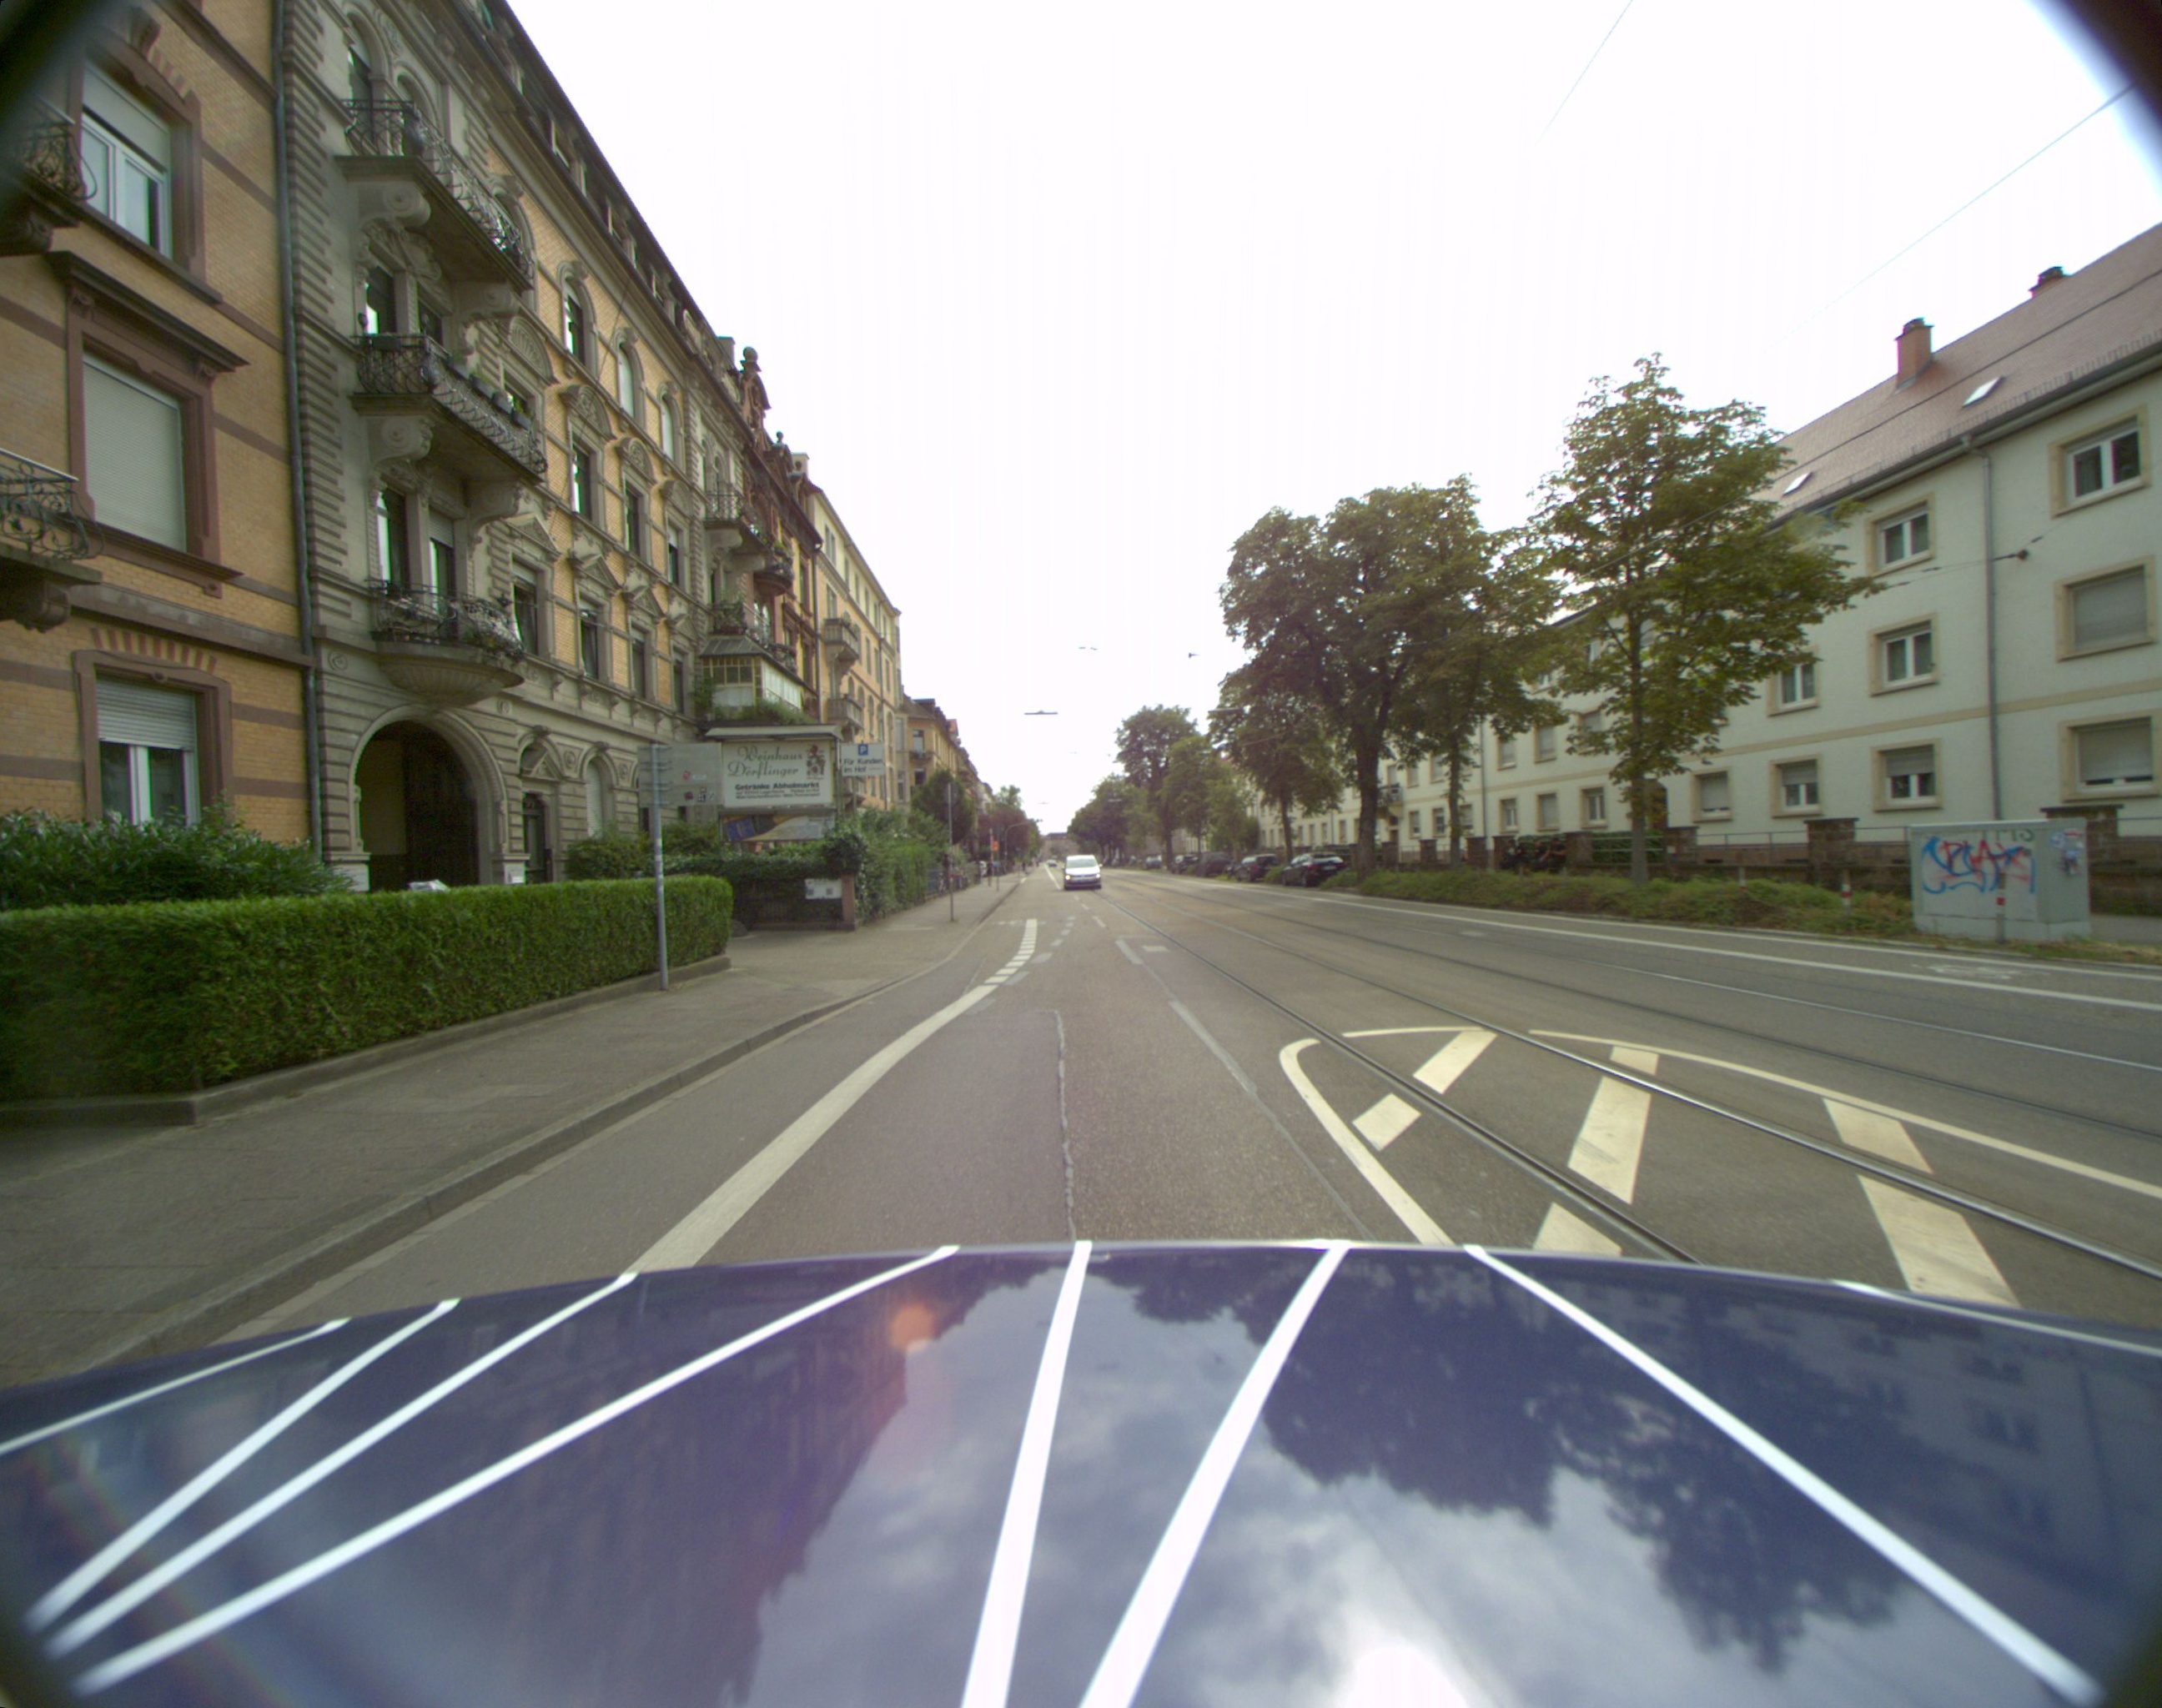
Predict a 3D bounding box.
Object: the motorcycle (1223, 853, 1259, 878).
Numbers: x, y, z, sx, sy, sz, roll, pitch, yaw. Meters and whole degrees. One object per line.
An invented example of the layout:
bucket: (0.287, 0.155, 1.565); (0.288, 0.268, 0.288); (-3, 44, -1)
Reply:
motorcycle: (9.517, 0.697, 45.245); (1.871, 1.253, 0.591); (-8, 1, -6)

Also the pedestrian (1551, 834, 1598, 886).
pedestrian: (14.485, 0.176, 22.315); (0.835, 1.456, 0.732); (-2, 0, -8)

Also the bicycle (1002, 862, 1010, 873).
bicycle: (-8.112, 1.450, 82.036); (0.630, 1.106, 1.874); (-2, 0, -2)

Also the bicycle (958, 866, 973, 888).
bicycle: (-6.028, 1.177, 39.715); (0.580, 1.105, 1.671); (2, 0, -3)

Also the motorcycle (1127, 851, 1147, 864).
motorcycle: (7.172, 0.434, 96.921); (2.312, 1.382, 0.838); (-7, 1, 29)

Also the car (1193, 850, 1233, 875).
car: (9.105, 0.574, 52.817); (1.790, 1.602, 4.299); (-2, 0, -3)

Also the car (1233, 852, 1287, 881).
car: (9.677, 0.637, 41.405); (1.701, 1.415, 4.299); (-4, 0, -3)

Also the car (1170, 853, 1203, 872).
car: (8.559, 0.656, 62.139); (1.701, 1.462, 4.298); (-2, 0, -5)

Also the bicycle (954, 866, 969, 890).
bicycle: (-5.926, 1.187, 37.744); (0.580, 1.105, 1.671); (2, 0, -3)

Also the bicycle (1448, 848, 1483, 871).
bicycle: (15.025, 0.208, 29.740); (0.510, 0.858, 1.550); (-2, 0, -2)

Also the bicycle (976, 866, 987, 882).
bicycle: (-6.436, 1.294, 49.231); (0.580, 0.977, 1.671); (2, 0, -3)

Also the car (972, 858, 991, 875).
car: (-9.982, 1.238, 76.136); (1.757, 1.516, 3.997); (-2, 0, -8)

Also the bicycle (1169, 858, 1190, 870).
bicycle: (8.652, 0.847, 66.737); (1.672, 0.965, 0.672); (-2, 0, -11)

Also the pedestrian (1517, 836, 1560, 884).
pedestrian: (14.288, 0.191, 23.730); (0.835, 1.456, 0.732); (-2, 0, -8)

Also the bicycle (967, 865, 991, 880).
bicycle: (-7.849, 1.415, 58.659); (0.629, 1.106, 1.878); (-2, 0, 40)

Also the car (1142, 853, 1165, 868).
car: (7.712, 0.695, 81.298); (1.701, 1.462, 4.298); (-3, 0, -5)

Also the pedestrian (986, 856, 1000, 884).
pedestrian: (-5.288, 0.969, 45.574); (0.732, 1.614, 0.835); (-2, 0, -3)

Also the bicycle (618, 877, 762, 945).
bicycle: (-8.397, 1.208, 16.413); (2.631, 1.304, 0.770); (-2, 0, -5)

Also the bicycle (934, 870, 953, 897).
bicycle: (-5.848, 1.242, 32.386); (0.580, 1.105, 1.671); (-2, 0, -3)

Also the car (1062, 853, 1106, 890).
car: (0.073, 0.831, 38.863); (1.876, 1.670, 5.129); (-2, 0, -3)

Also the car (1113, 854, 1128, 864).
car: (6.159, 0.793, 118.645); (1.732, 1.462, 4.298); (-2, 0, -5)

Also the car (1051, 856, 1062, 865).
car: (-5.220, 1.416, 163.082); (1.947, 1.675, 4.000); (-2, 0, 2)

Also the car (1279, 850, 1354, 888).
car: (10.159, 0.610, 33.119); (1.701, 1.415, 4.299); (-5, 0, -3)

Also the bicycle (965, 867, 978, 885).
bicycle: (-6.252, 1.255, 43.343); (0.580, 0.977, 1.671); (2, 0, -3)

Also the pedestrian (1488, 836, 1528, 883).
pedestrian: (14.220, 0.175, 25.312); (0.835, 1.503, 0.732); (-2, 0, -8)
